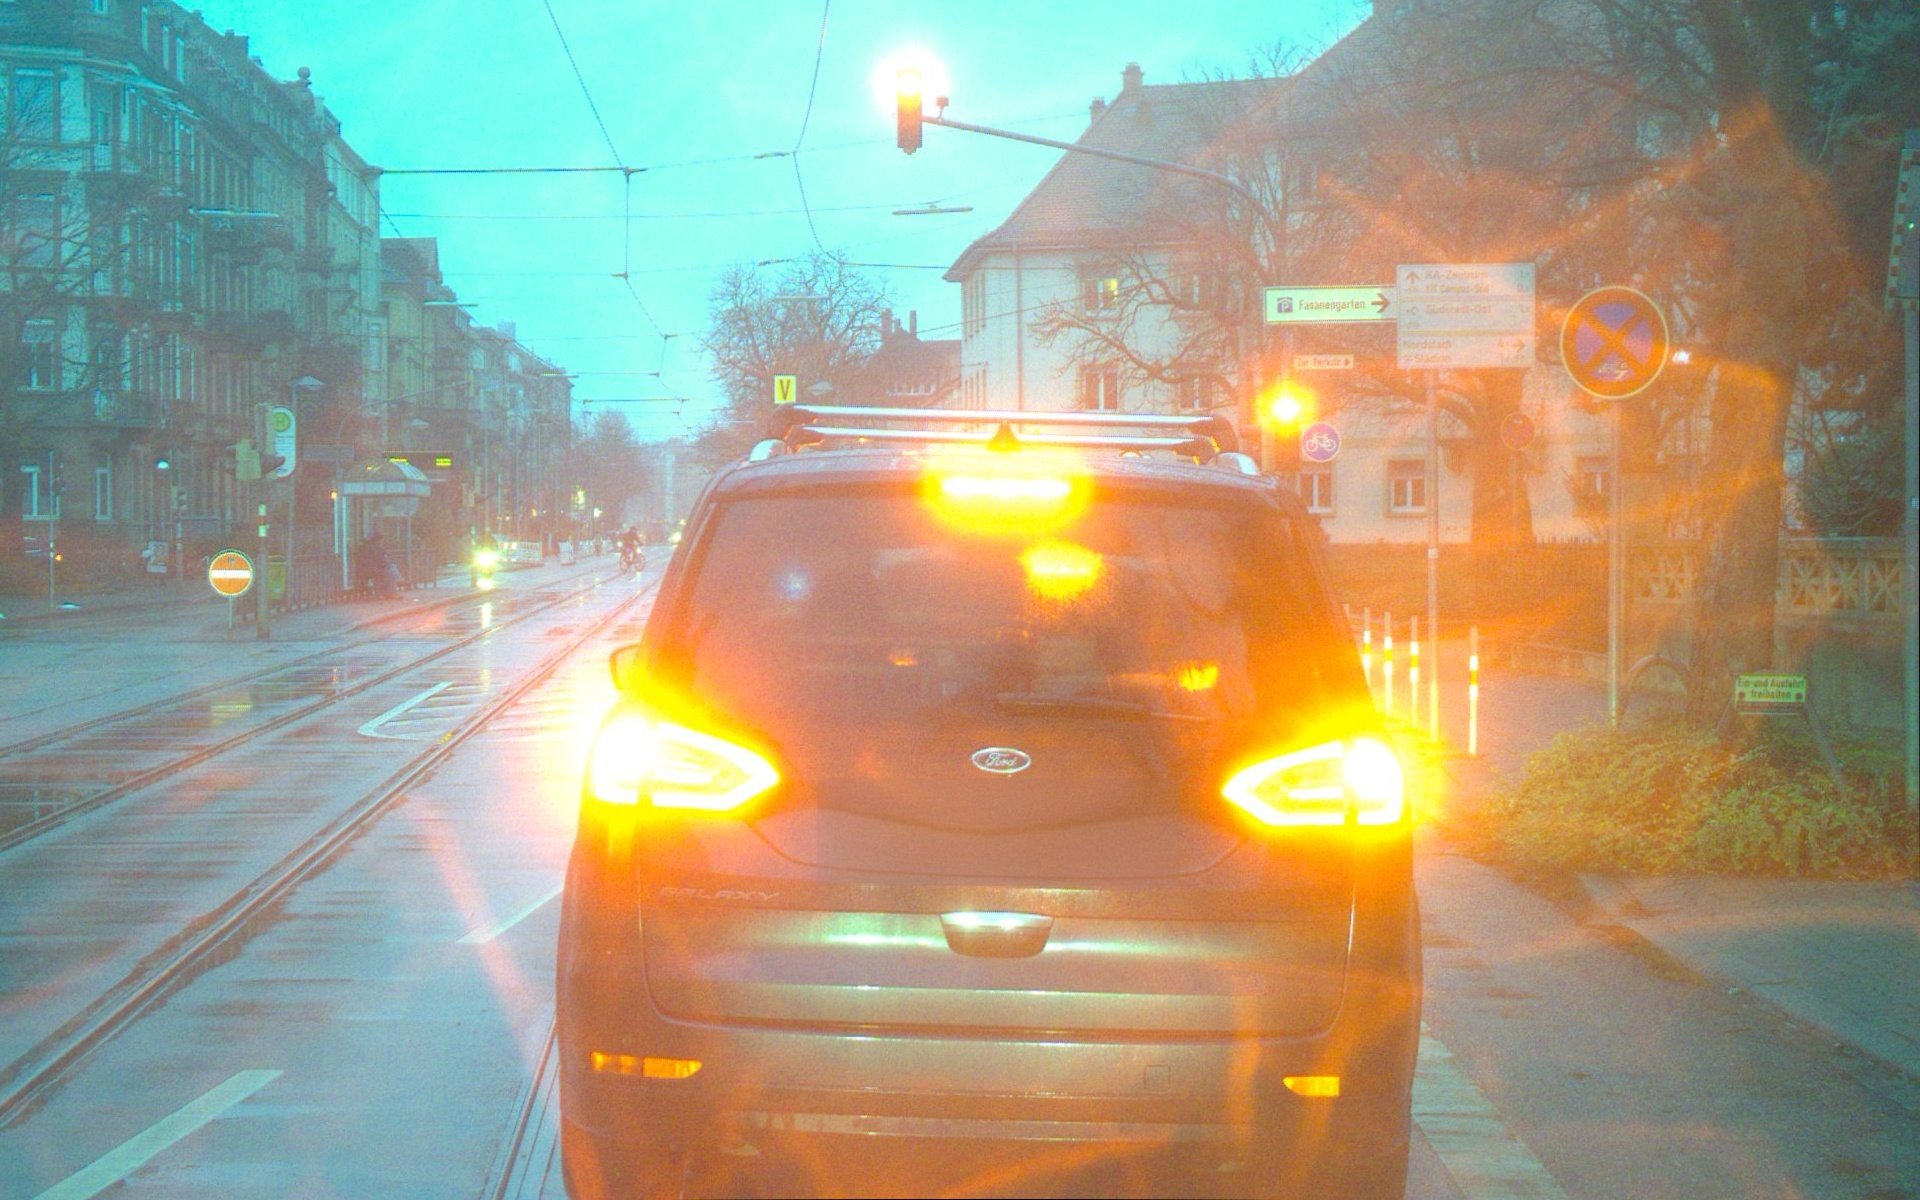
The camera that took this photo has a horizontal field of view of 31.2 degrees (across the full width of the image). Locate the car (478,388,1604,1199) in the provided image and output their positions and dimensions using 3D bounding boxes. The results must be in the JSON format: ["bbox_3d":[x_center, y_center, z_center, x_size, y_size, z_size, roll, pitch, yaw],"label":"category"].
[{"bbox_3d":[0.091,0.480,8.874,2.103,1.810,4.661,2,1,-2],"label":"car"}]

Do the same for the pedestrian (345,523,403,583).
[{"bbox_3d":[-11.876,-0.948,69.689,1.047,1.196,0.885,0,1,-2],"label":"pedestrian"}]
